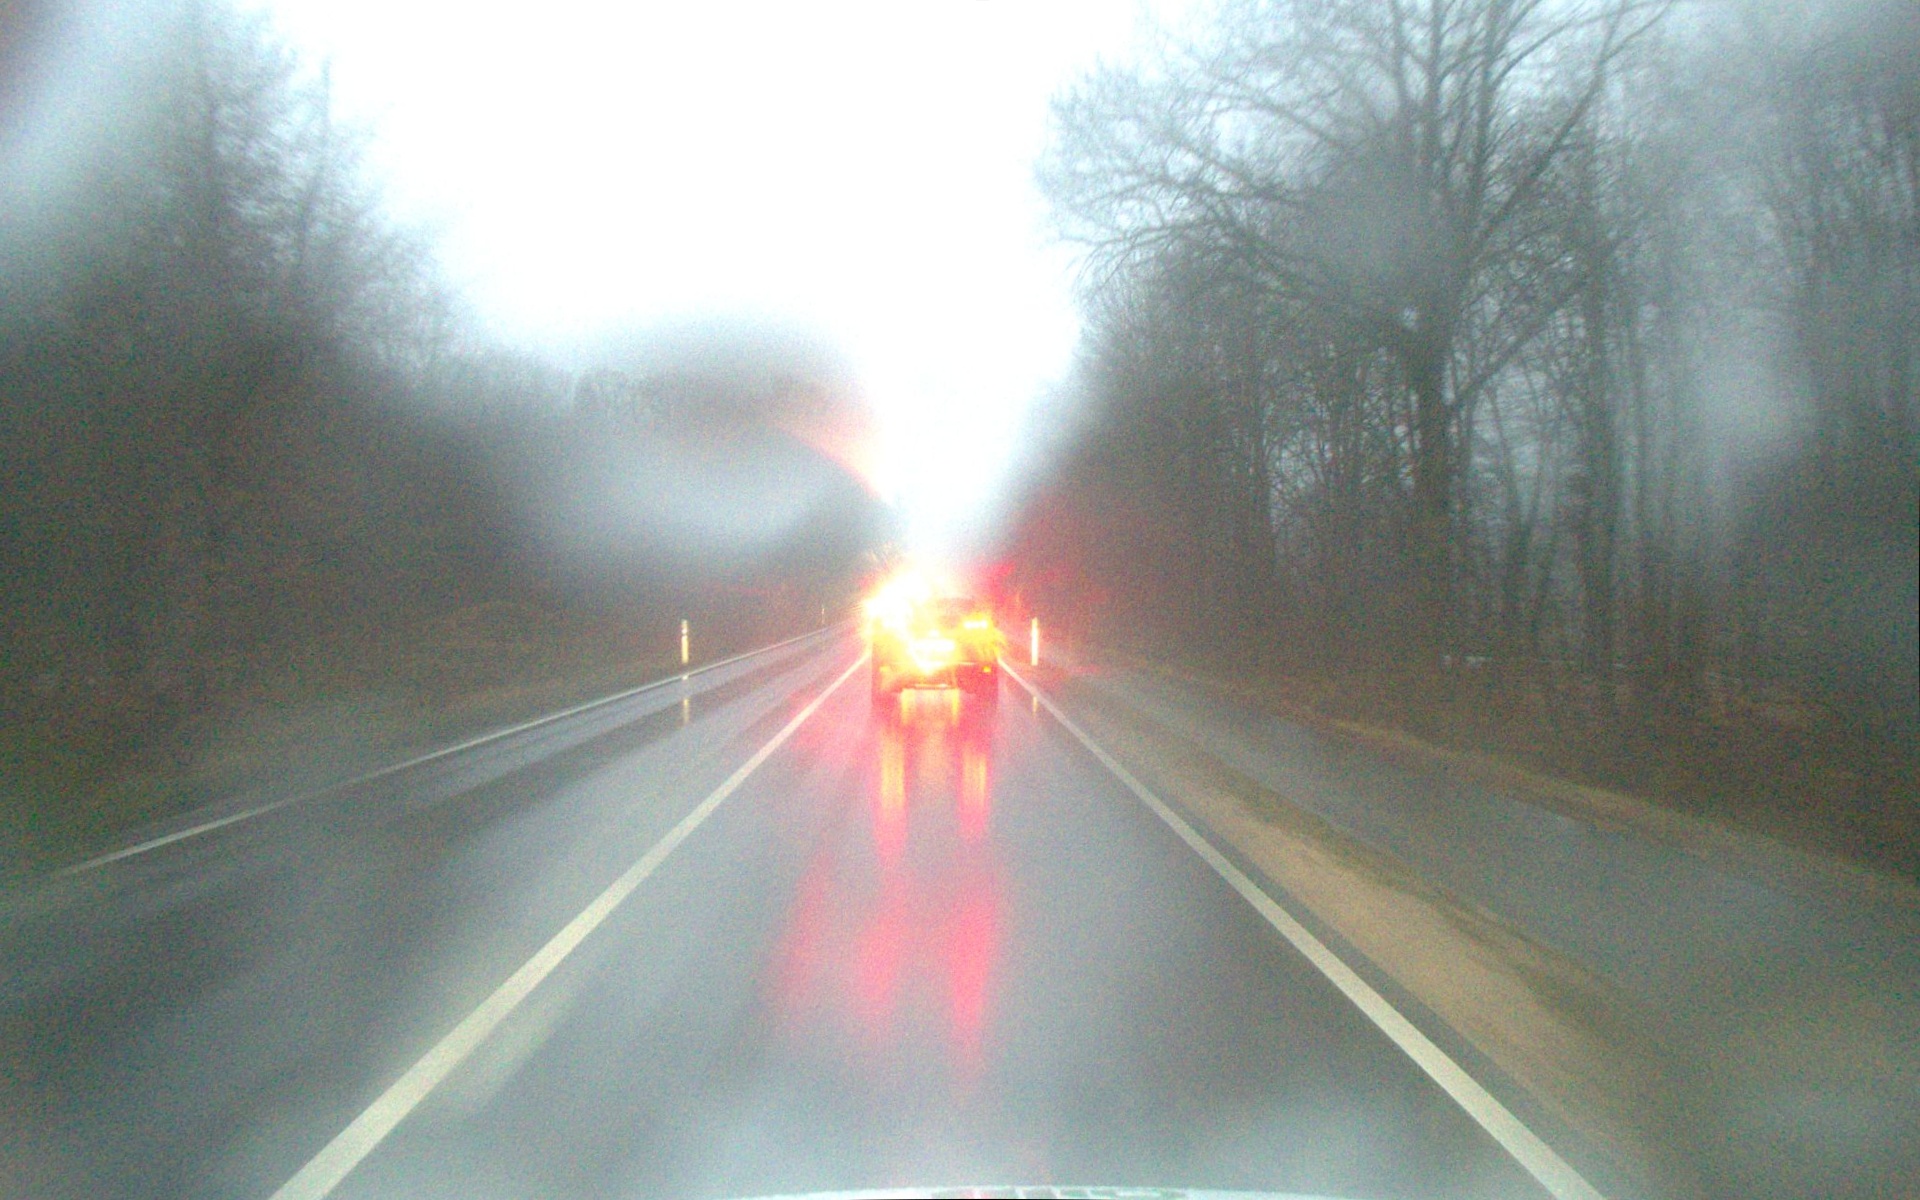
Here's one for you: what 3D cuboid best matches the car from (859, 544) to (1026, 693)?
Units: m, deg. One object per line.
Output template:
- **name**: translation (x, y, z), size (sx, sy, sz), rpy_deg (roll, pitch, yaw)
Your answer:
- **car**: translation (-0.292, 0.214, 24.079), size (2.154, 1.910, 4.826), rpy_deg (1, 1, -2)
